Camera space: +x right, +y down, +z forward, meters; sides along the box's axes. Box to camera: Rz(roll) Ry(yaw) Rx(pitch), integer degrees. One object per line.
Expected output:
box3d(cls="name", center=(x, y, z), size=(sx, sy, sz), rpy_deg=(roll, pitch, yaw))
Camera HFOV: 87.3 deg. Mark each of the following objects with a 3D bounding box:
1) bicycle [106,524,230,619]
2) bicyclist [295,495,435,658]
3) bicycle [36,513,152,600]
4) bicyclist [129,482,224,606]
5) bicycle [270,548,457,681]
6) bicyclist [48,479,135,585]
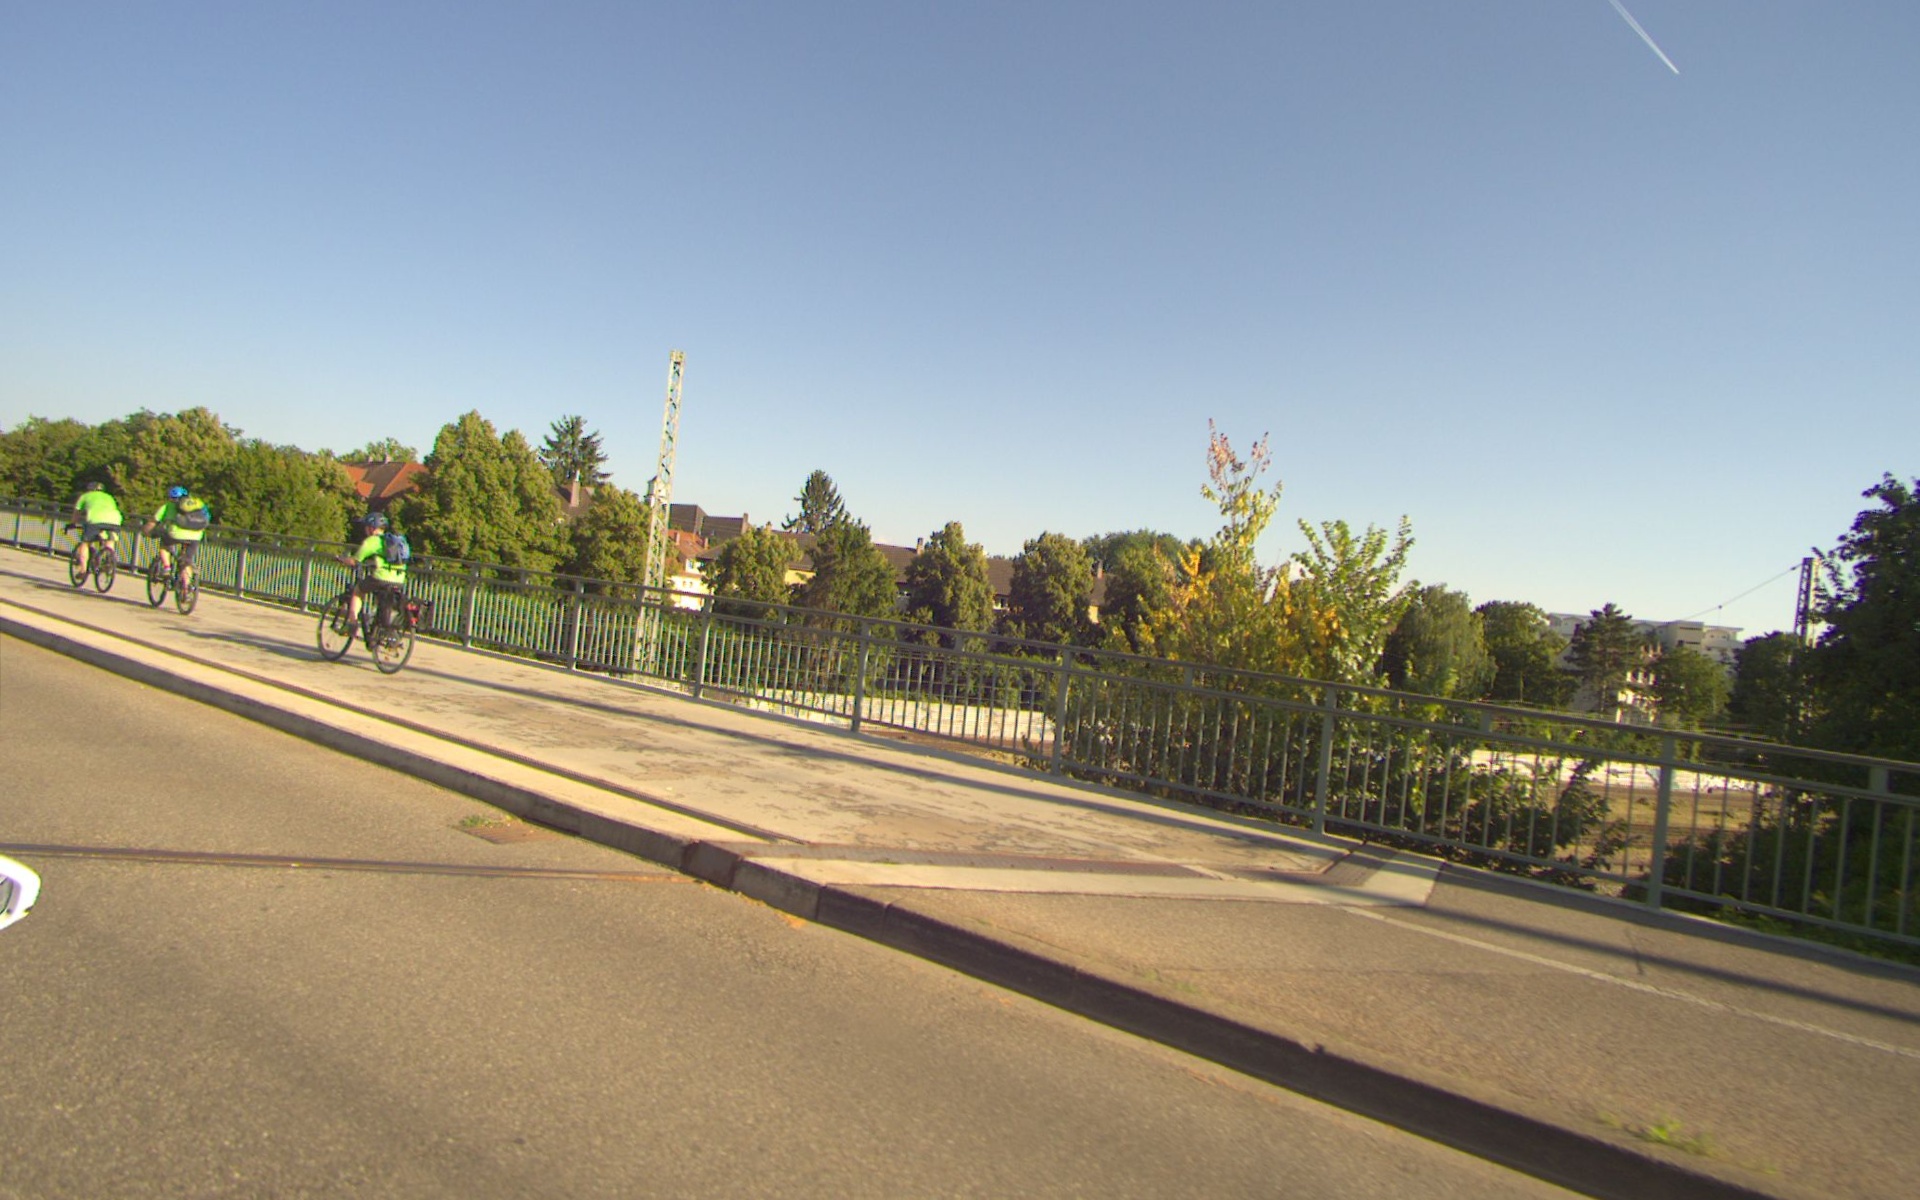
box3d(cls="bicycle", center=(-11.142, -0.414, 14.133), size=(2.008, 1.136, 0.626), rpy_deg=(5, -1, 32))
box3d(cls="bicyclist", center=(-6.345, -0.242, 10.738), size=(0.881, 1.581, 0.813), rpy_deg=(7, 0, 32))
box3d(cls="bicycle", center=(-13.400, -0.687, 15.543), size=(2.222, 1.136, 0.626), rpy_deg=(6, -1, 32))
box3d(cls="bicyclist", center=(-10.919, -0.775, 14.022), size=(0.915, 1.611, 0.626), rpy_deg=(6, -1, 32))
box3d(cls="bicycle", center=(-6.403, 0.138, 10.755), size=(2.179, 1.136, 0.684), rpy_deg=(7, -1, 32))
box3d(cls="bicyclist", center=(-13.491, -1.056, 15.621), size=(0.989, 1.526, 0.626), rpy_deg=(6, -1, 32))
